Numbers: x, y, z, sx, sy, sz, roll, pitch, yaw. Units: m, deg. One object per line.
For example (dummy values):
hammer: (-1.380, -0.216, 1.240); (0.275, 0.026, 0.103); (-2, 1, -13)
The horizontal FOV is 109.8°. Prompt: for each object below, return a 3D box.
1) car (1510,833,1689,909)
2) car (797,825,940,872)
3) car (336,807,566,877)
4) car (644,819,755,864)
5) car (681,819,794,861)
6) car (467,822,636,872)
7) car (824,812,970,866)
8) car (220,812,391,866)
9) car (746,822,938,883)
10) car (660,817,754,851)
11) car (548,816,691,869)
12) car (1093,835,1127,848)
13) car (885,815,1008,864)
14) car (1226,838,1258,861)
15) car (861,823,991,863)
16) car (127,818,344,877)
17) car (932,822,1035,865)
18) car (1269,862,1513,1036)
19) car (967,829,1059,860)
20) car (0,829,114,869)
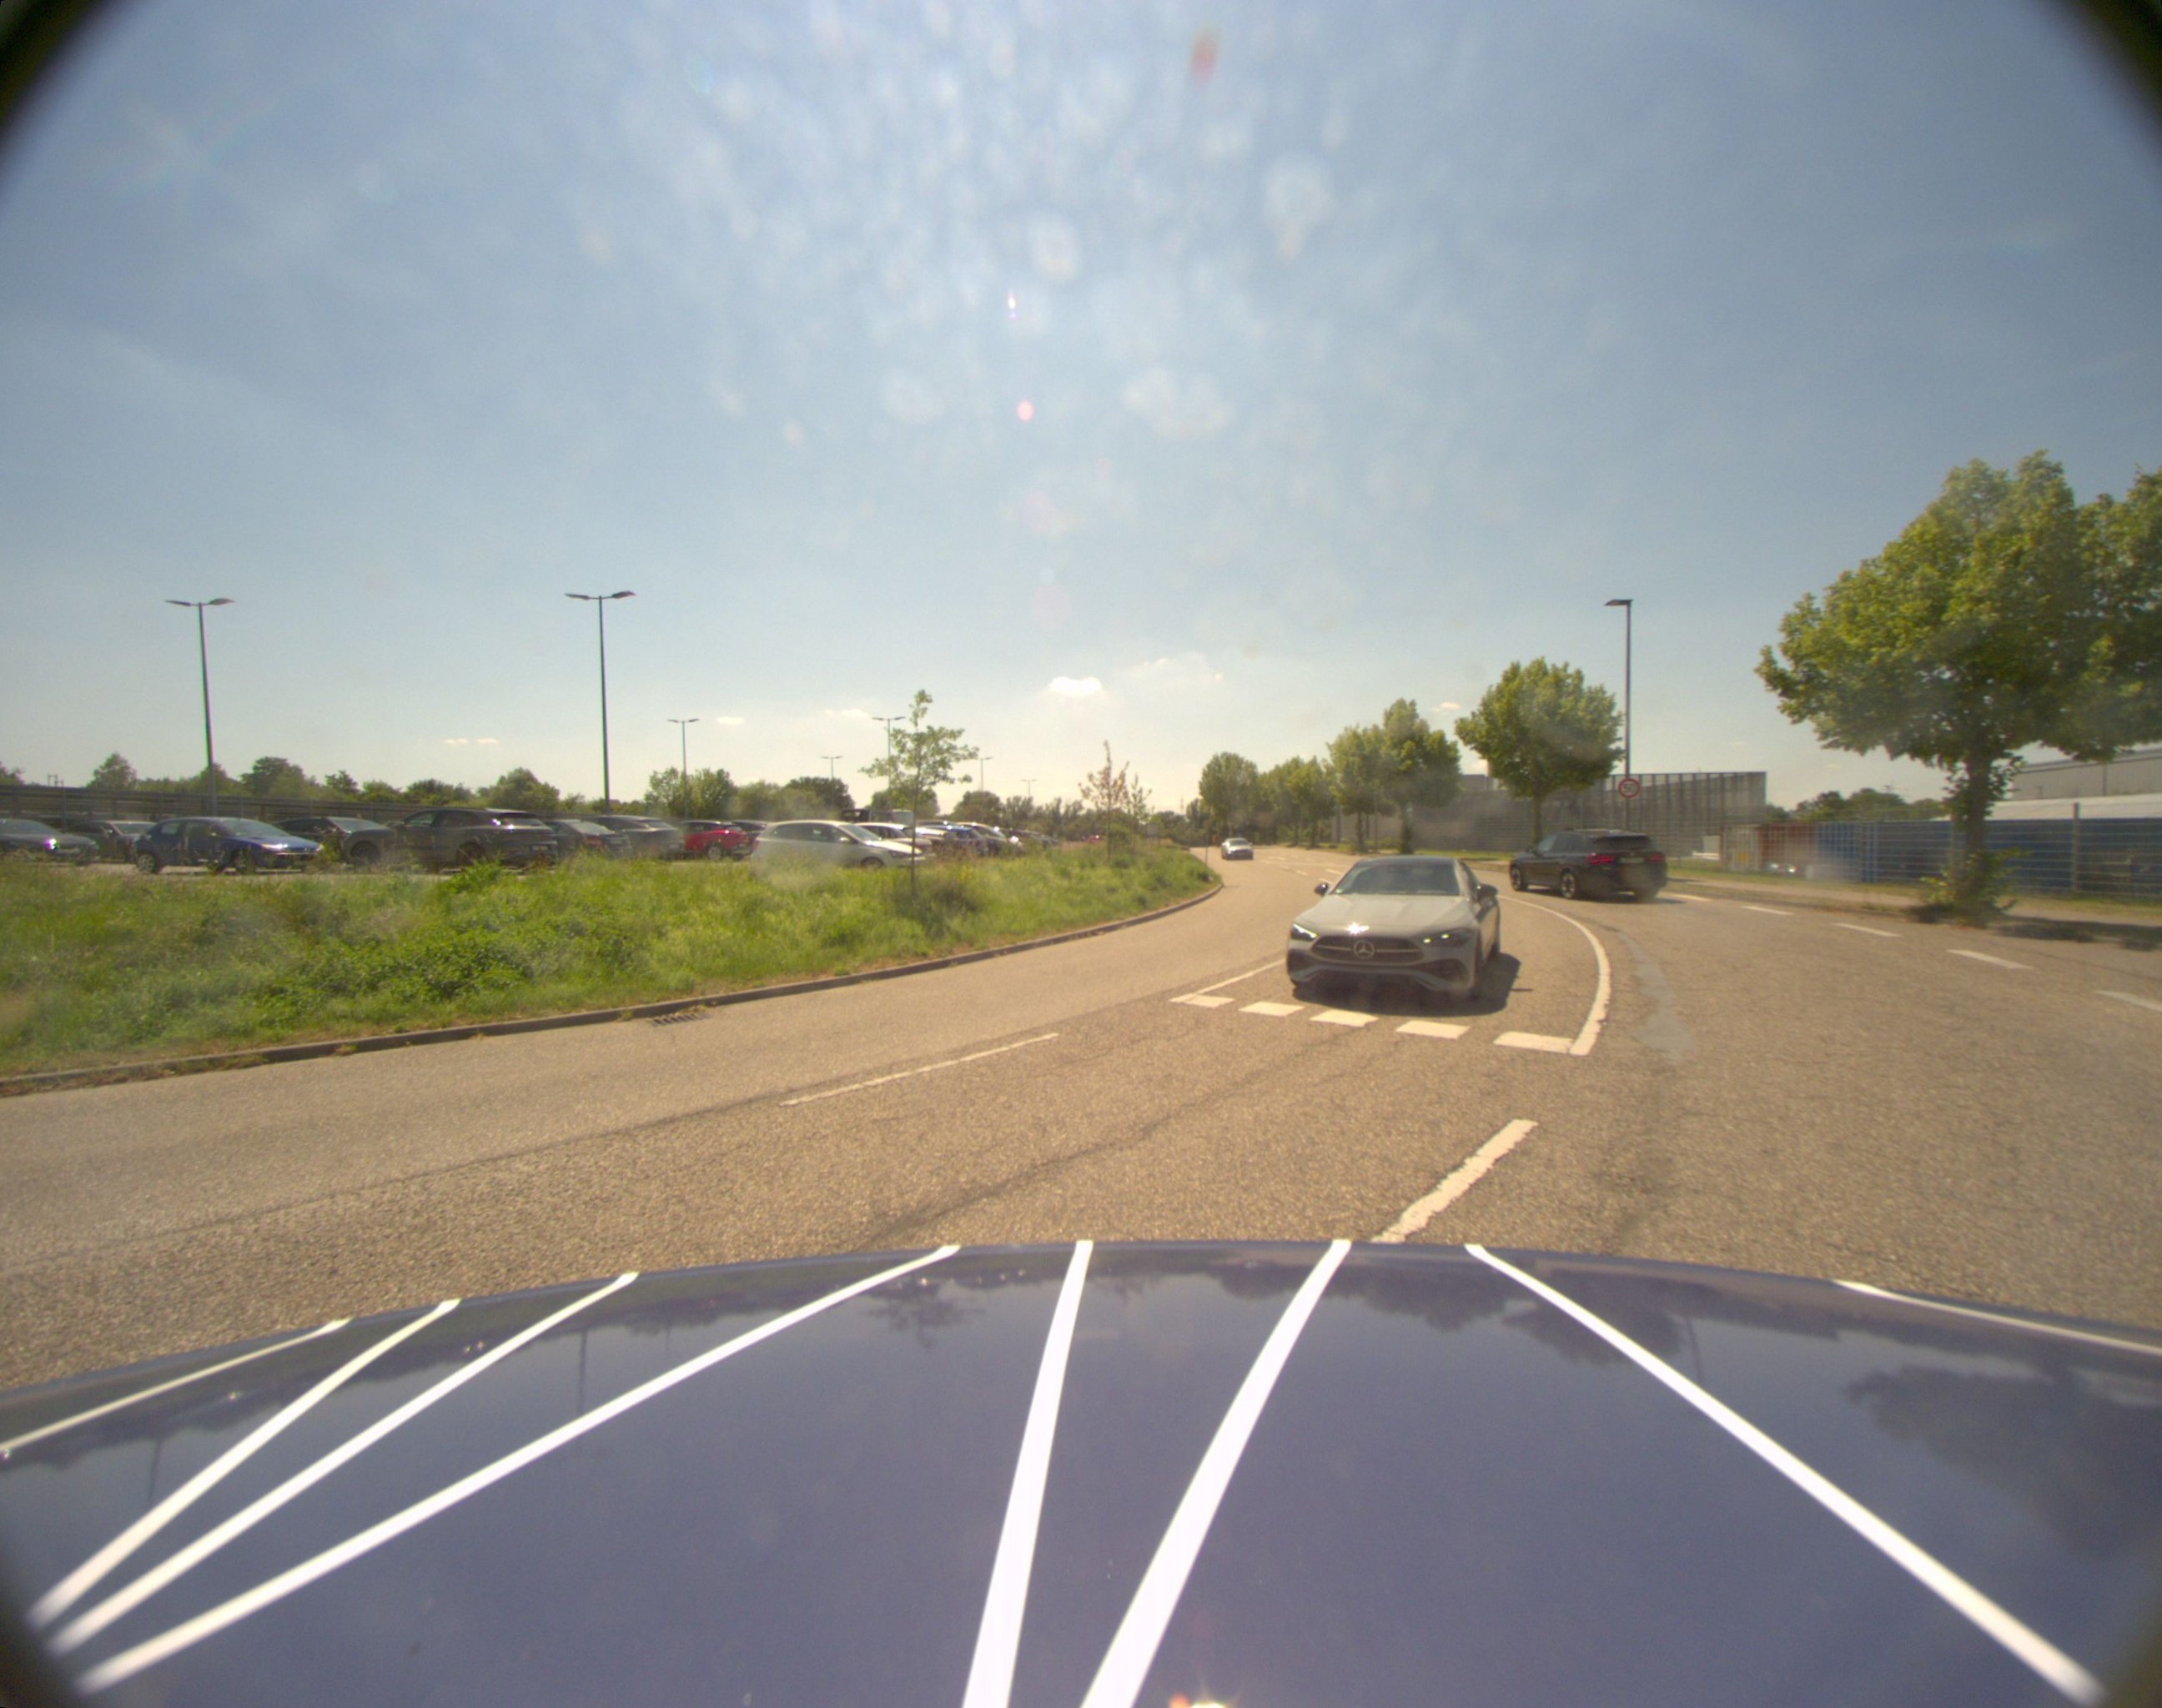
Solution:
car: (12.790, 0.333, 19.151); (1.867, 1.625, 4.600); (-1, 2, 8)
car: (-5.559, -0.164, 20.052); (3.266, 1.176, 1.501); (0, 4, 6)
car: (-16.165, -0.299, 19.612); (4.599, 1.680, 1.778); (-1, 1, 5)
car: (-14.675, -0.488, 29.327); (3.417, 1.565, 1.522); (-2, 3, 3)
car: (-14.405, -0.608, 32.018); (3.875, 1.591, 1.740); (-2, 3, 3)
car: (-15.368, -0.230, 22.148); (3.844, 1.355, 1.653); (1, 2, 5)
car: (-5.432, -0.478, 22.677); (3.742, 1.519, 1.877); (0, 4, 11)
car: (-23.208, -0.469, 22.813); (3.635, 1.491, 1.599); (1, 2, 5)
car: (-5.439, -0.063, 17.507); (3.872, 1.290, 1.574); (0, 4, 7)
car: (-17.870, -0.962, 36.370); (3.635, 1.491, 1.769); (1, 2, 5)
car: (-15.058, -0.397, 24.886); (3.635, 1.588, 1.769); (1, 2, 5)
car: (3.539, -1.553, 92.423); (3.996, 1.344, 1.646); (-2, 3, 3)
car: (-4.847, -0.540, 27.772); (4.036, 1.422, 1.687); (-5, 2, 4)
car: (10.874, -0.362, 51.506); (1.672, 1.367, 4.498); (-3, 2, 8)
car: (-5.121, -0.389, 25.338); (3.943, 1.251, 1.585); (0, 4, 3)
car: (-21.616, -0.179, 19.529); (3.637, 1.438, 1.652); (1, 2, -1)
car: (-3.911, -0.438, 30.808); (3.845, 1.615, 1.617); (1, 2, 4)
car: (3.957, 0.861, 9.117); (1.893, 1.375, 4.642); (-1, 1, 33)
car: (-3.183, -0.475, 36.089); (3.995, 1.284, 1.909); (-2, 3, 7)
car: (-31.754, -0.176, 22.635); (3.745, 1.079, 1.568); (1, 4, -1)
